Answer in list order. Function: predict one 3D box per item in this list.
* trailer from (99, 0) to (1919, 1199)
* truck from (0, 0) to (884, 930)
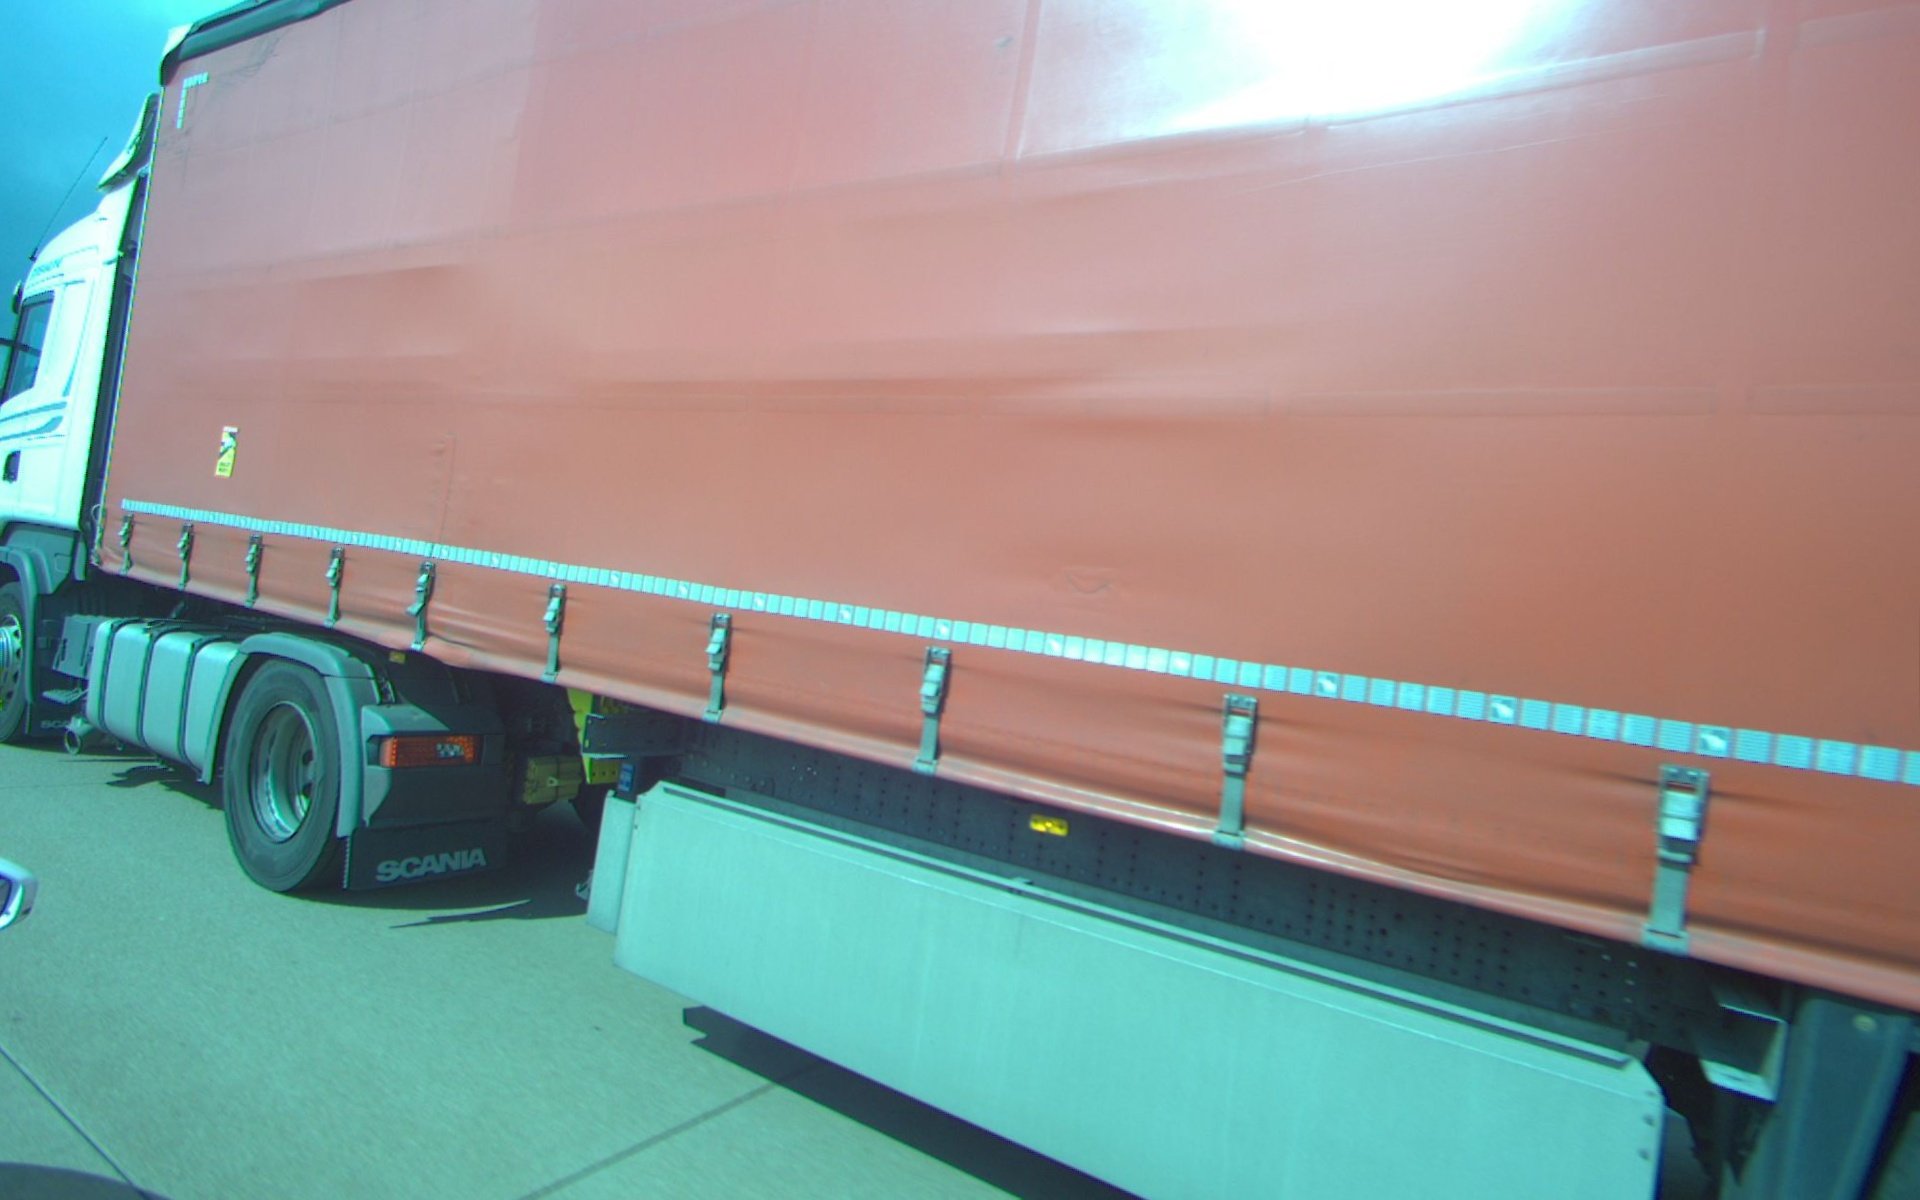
[{"bbox_3d":[1.919,-0.302,2.833,12.578,4.142,2.676,6,-1,32],"label":"trailer"},{"bbox_3d":[-4.131,-1.006,6.659,6.507,4.155,2.678,6,-1,32],"label":"truck"}]
